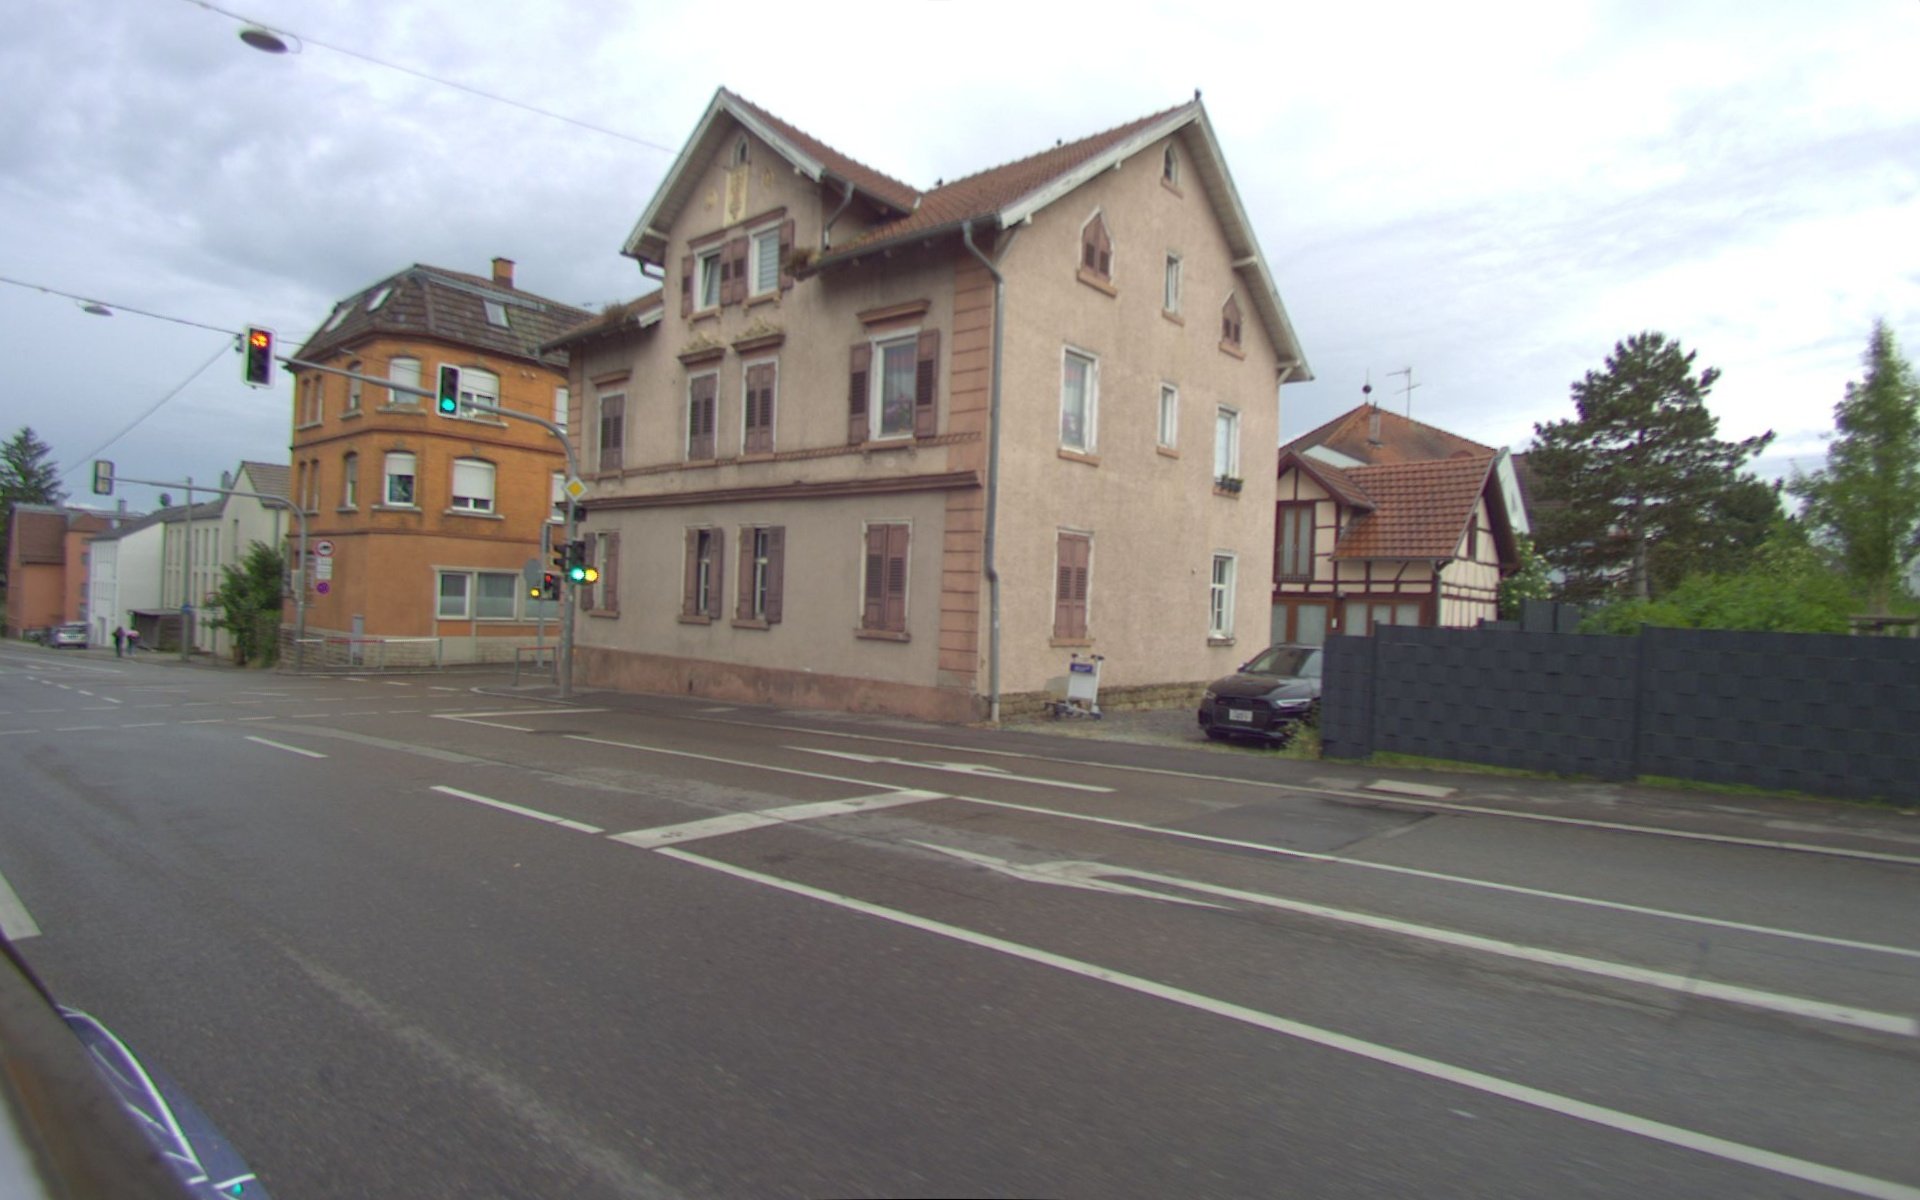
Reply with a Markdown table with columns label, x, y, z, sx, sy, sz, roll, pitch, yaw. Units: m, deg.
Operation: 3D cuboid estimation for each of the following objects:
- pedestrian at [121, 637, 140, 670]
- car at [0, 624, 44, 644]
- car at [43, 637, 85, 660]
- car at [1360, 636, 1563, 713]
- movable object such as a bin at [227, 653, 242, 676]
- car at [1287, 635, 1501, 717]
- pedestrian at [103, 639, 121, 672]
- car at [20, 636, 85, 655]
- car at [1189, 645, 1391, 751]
| label | x | y | z | sx | sy | sz | roll | pitch | yaw |
| --- | --- | --- | --- | --- | --- | --- | --- | --- | --- |
| pedestrian | -44.905 | 2.893 | 54.792 | 0.911 | 1.719 | 0.633 | -1 | -2 | 42 |
| car | -98.457 | 3.516 | 105.822 | 3.938 | 2.029 | 2.003 | 1 | -1 | -41 |
| car | -63.174 | 3.398 | 71.325 | 4.176 | 1.519 | 1.726 | -1 | -2 | 42 |
| car | 11.659 | 1.662 | 23.660 | 3.998 | 1.528 | 1.624 | 0 | -1 | 41 |
| movable object such as a bin | -31.635 | 2.810 | 44.124 | 0.525 | 0.932 | 0.405 | 0 | -1 | 35 |
| car | 9.414 | 1.580 | 22.104 | 3.998 | 1.528 | 1.679 | 0 | -1 | 41 |
| pedestrian | -45.433 | 2.964 | 54.214 | 0.911 | 1.719 | 0.633 | -1 | -2 | 42 |
| car | -78.620 | 3.945 | 87.707 | 2.000 | 1.444 | 4.116 | -1 | 0 | 43 |
| car | 4.899 | 1.317 | 14.699 | 1.604 | 1.172 | 3.950 | 0 | -1 | 37 |
